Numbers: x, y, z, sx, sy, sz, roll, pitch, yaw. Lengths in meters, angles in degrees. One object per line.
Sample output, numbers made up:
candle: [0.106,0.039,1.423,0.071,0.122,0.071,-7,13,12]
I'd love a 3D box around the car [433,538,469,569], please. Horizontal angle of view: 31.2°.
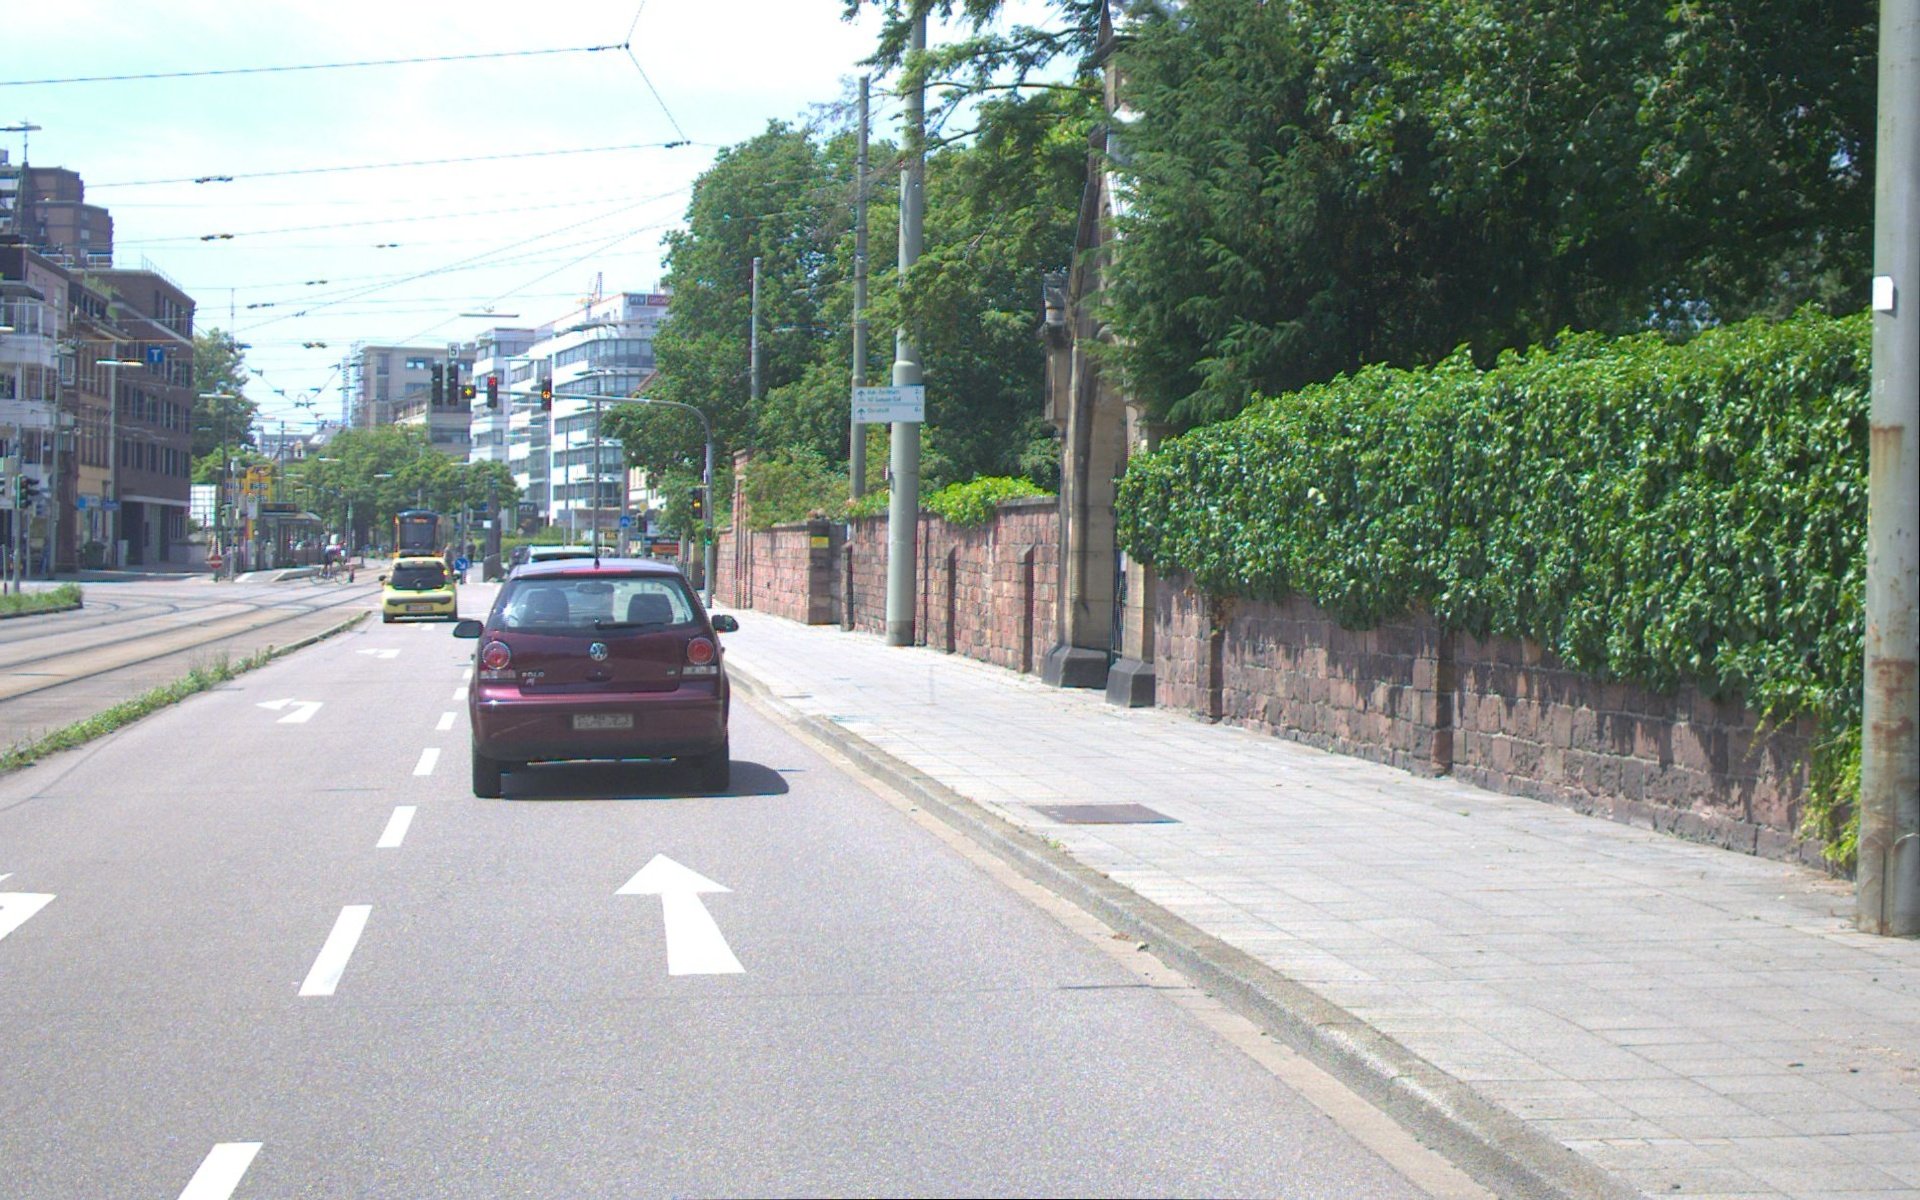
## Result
car: [-21.224,-1.947,143.364,1.353,1.248,2.973,2,1,-7]

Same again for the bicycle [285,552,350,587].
bicycle: [-26.170,-1.241,139.981,2.508,1.414,0.637,0,1,-20]

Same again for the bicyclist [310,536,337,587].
bicyclist: [-25.924,-1.572,140.077,0.956,2.084,0.853,0,1,-19]

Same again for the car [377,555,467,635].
car: [-12.107,-0.137,77.524,1.795,1.677,4.001,2,1,-7]

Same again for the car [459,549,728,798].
car: [-2.424,0.416,22.677,1.609,1.493,4.001,0,1,-6]

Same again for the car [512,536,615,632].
car: [-7.476,-0.322,64.811,1.795,1.677,4.001,2,1,-7]

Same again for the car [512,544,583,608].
car: [-11.211,-0.664,93.528,1.774,1.625,4.001,2,1,-6]
